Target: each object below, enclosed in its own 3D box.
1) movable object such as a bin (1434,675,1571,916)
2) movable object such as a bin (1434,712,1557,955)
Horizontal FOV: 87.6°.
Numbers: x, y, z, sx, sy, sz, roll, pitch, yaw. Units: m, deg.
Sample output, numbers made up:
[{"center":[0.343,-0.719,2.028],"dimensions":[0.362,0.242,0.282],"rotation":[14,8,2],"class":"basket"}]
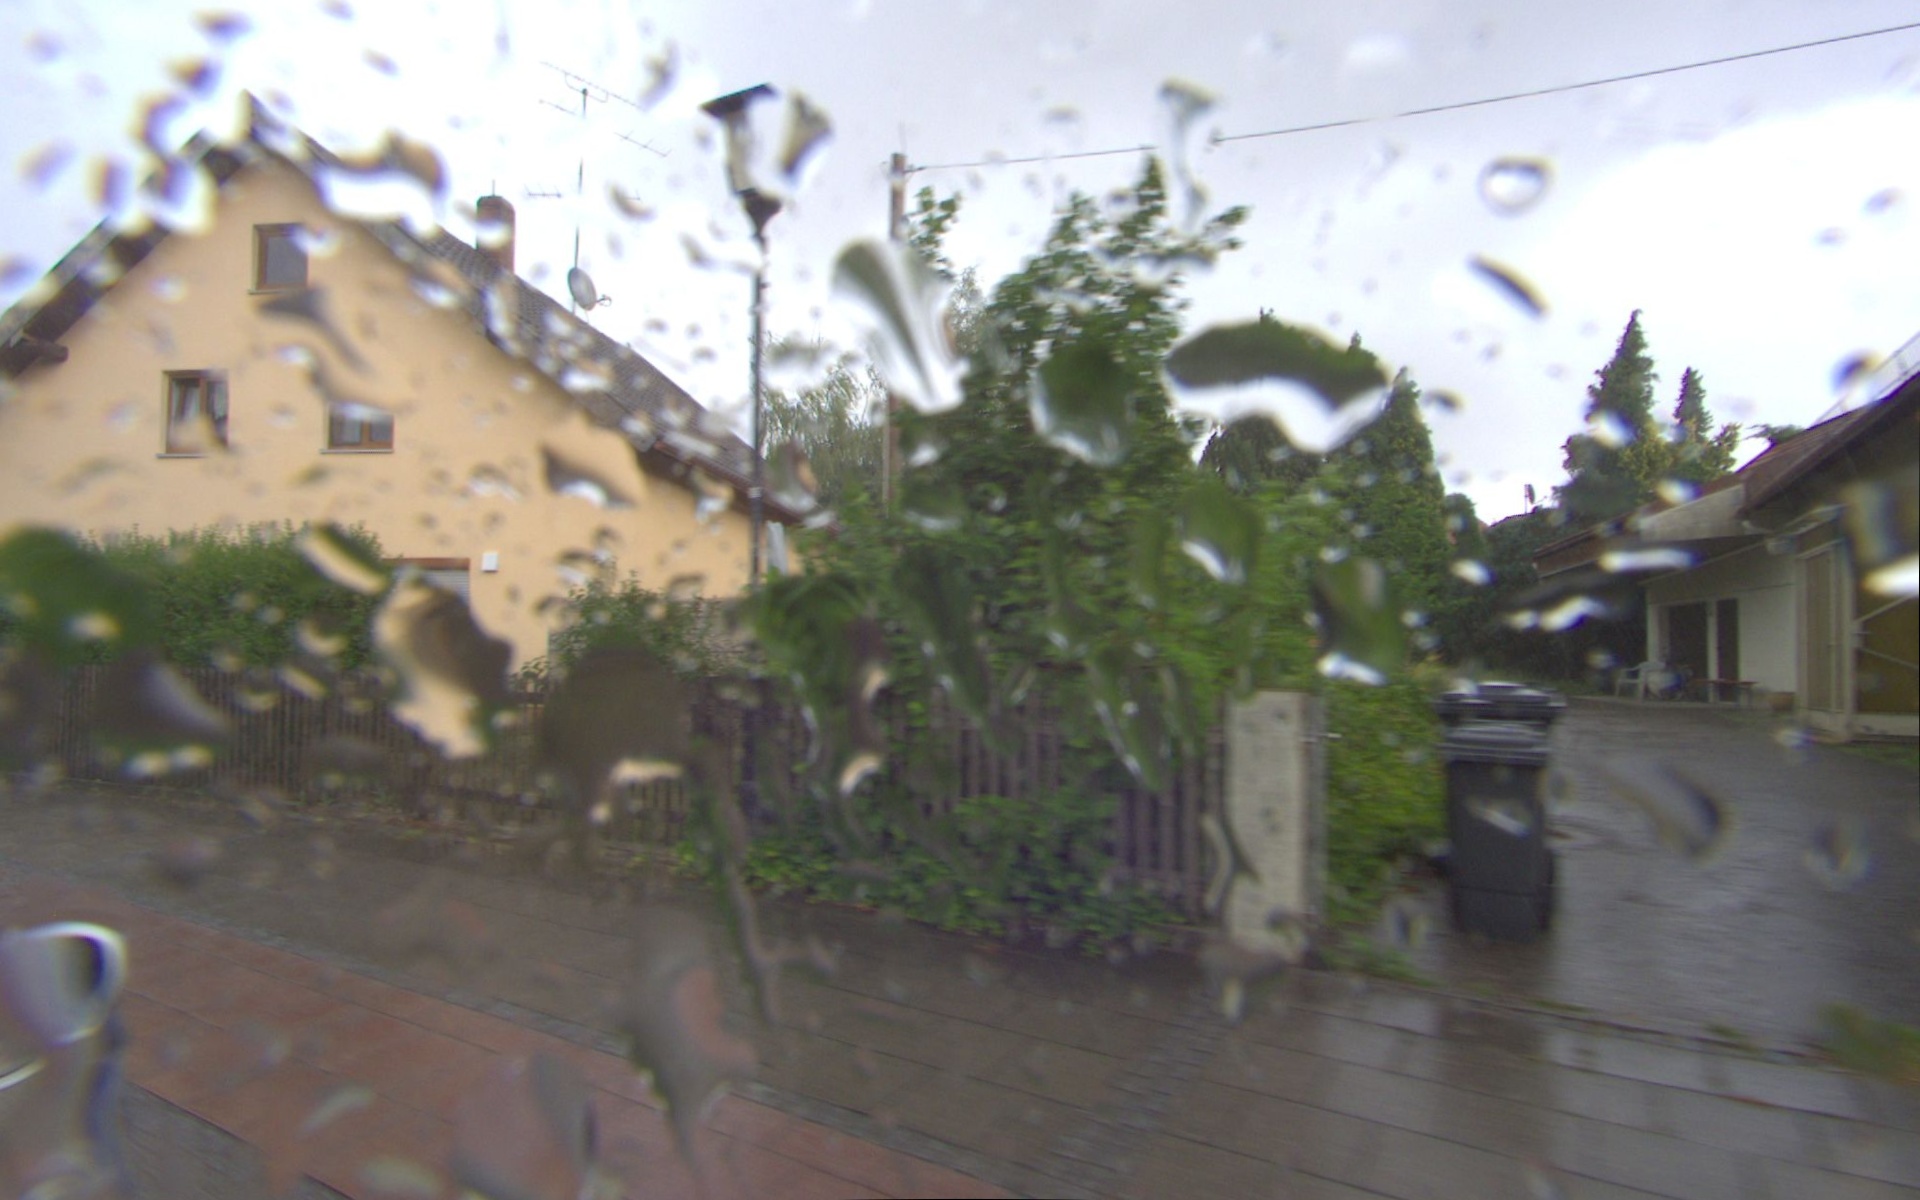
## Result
[{"center":[2.707,0.928,4.984],"dimensions":[0.545,1.054,0.574],"rotation":[-1,1,33],"class":"movable object such as a bin"},{"center":[2.393,1.004,4.464],"dimensions":[0.440,0.948,0.432],"rotation":[-1,1,33],"class":"movable object such as a bin"}]
